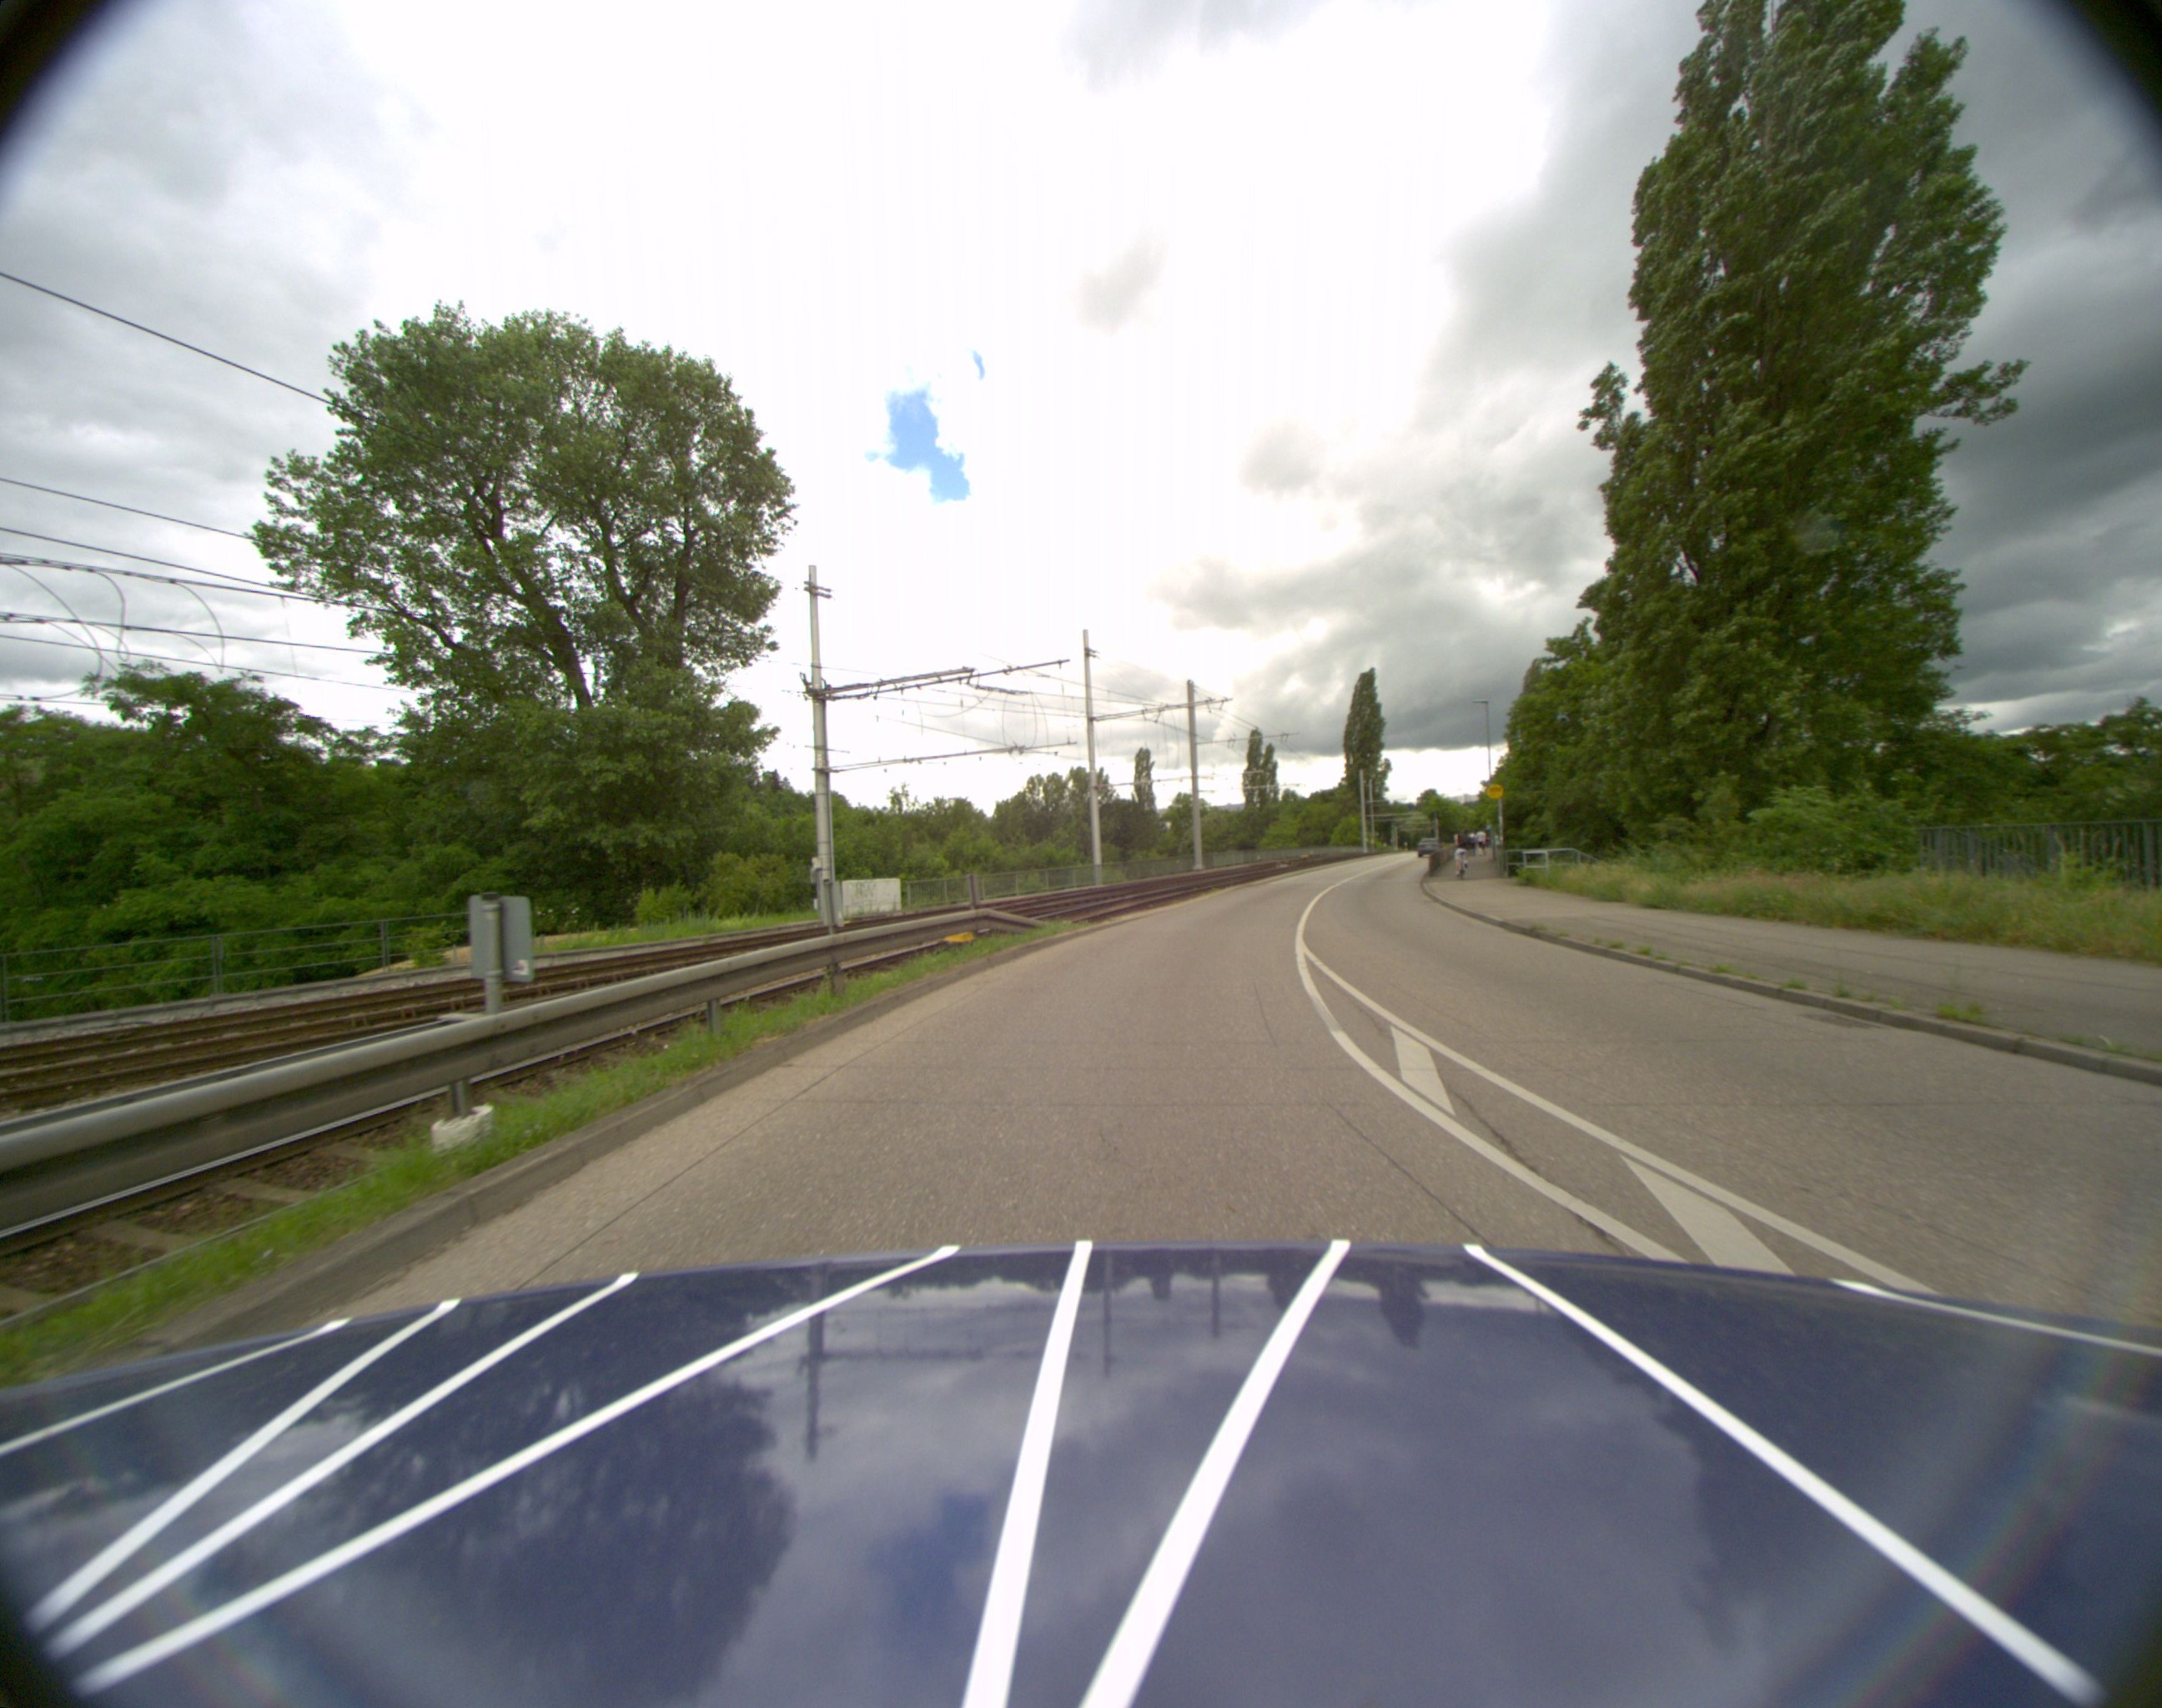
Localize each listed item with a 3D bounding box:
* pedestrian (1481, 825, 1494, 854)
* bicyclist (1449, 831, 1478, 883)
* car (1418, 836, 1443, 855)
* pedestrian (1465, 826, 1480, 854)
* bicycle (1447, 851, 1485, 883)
[{"bbox_3d":[26.312,-0.961,49.215,0.605,1.817,0.557,-4,1,30],"label":"pedestrian"},{"bbox_3d":[13.891,0.097,27.612,0.628,1.798,0.901,-4,1,11],"label":"bicyclist"},{"bbox_3d":[27.967,-0.687,60.770,1.717,1.460,3.947,0,2,27],"label":"car"},{"bbox_3d":[25.778,-0.913,50.024,0.780,1.817,0.727,-4,1,30],"label":"pedestrian"},{"bbox_3d":[13.916,0.454,27.503,0.737,1.065,1.883,-4,0,12],"label":"bicycle"}]
